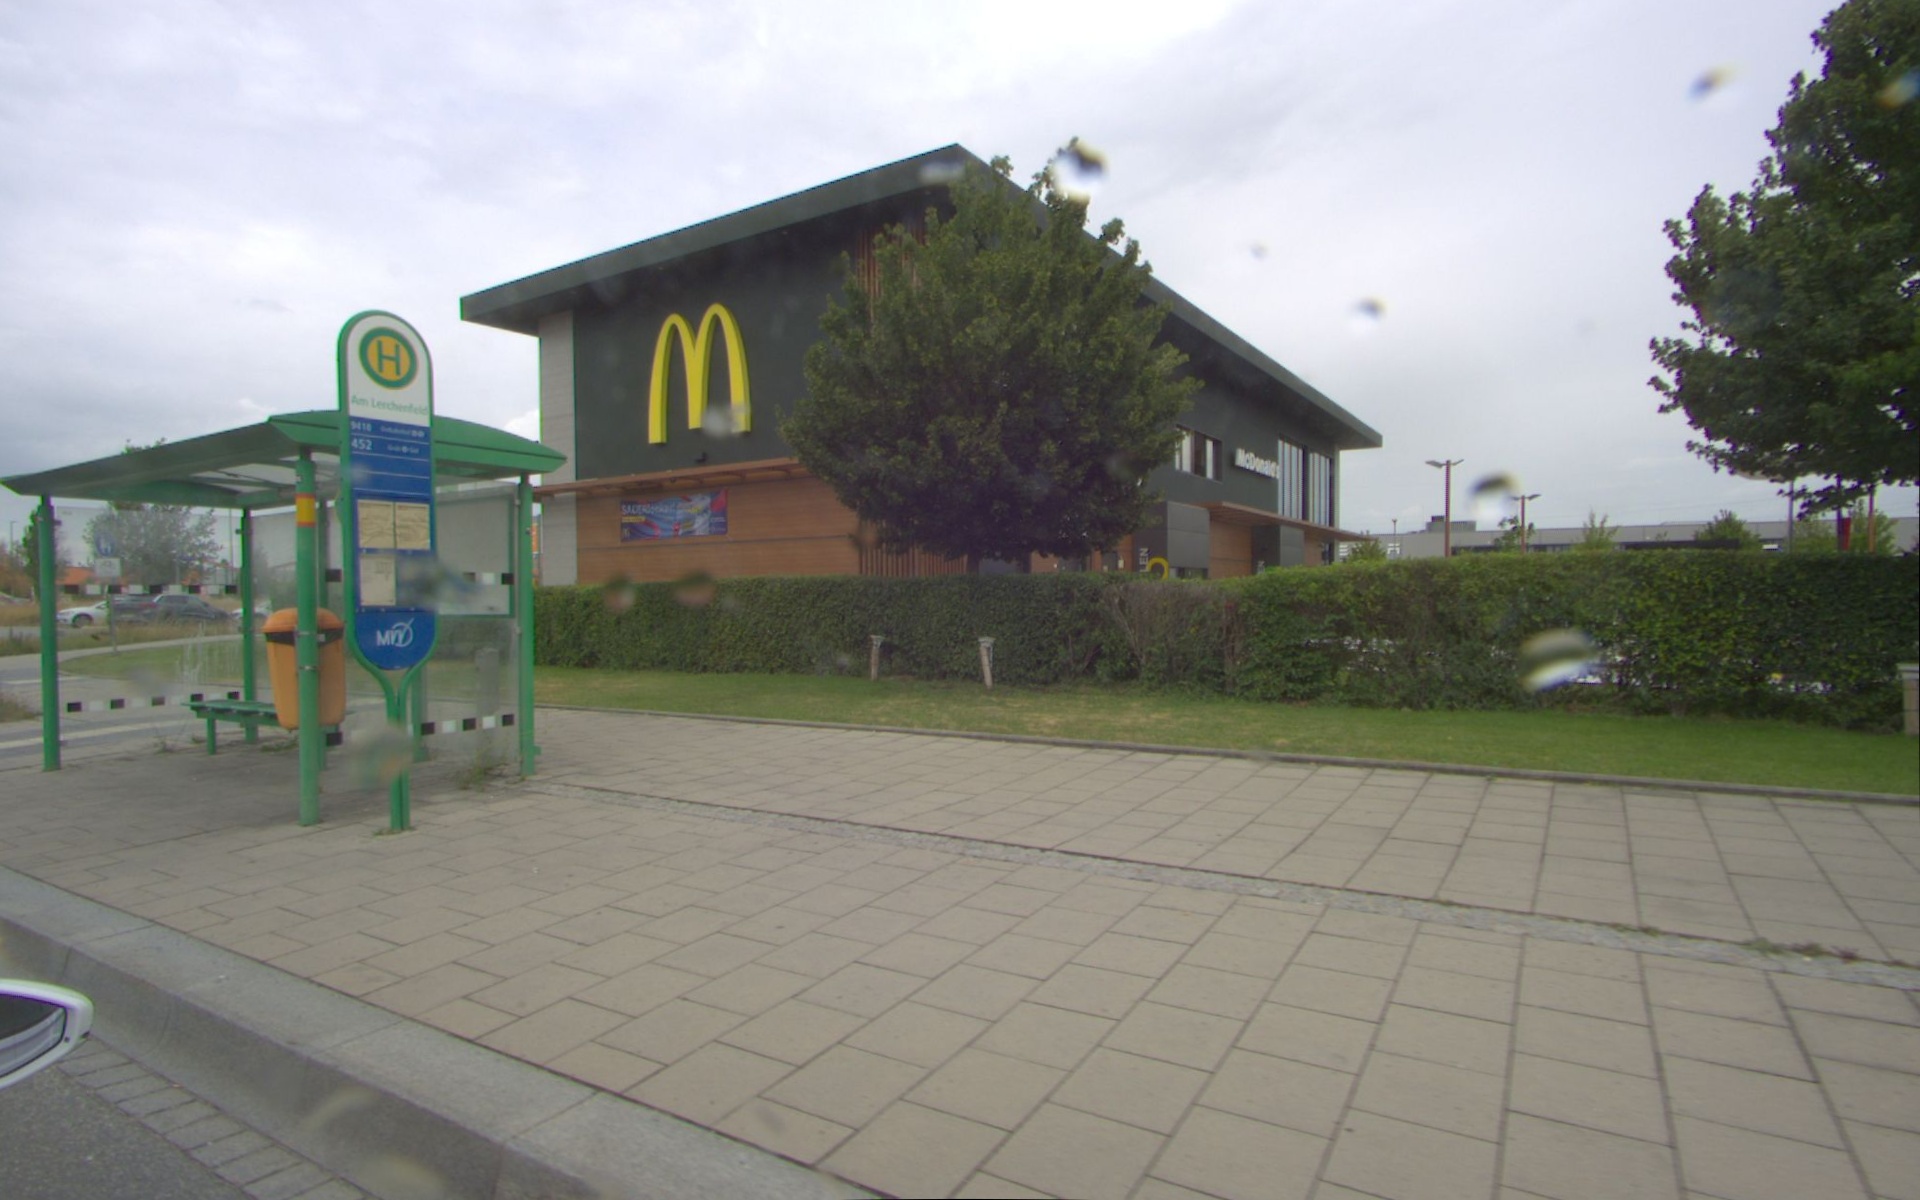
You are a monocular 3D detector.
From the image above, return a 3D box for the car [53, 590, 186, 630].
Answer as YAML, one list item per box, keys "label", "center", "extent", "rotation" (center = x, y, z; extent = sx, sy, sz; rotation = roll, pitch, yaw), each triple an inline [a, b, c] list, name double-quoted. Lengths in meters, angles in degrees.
- label: "car"
  center: [-39.238, 0.472, 46.849]
  extent: [1.978, 1.780, 4.577]
  rotation: [0, 0, 43]

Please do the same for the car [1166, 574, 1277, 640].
- label: "car"
  center: [7.581, 0.212, 28.759]
  extent: [1.972, 1.739, 3.978]
  rotation: [0, 0, 33]

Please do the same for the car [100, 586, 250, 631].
- label: "car"
  center: [-30.832, 0.285, 39.492]
  extent: [2.029, 1.614, 4.193]
  rotation: [0, 1, 20]

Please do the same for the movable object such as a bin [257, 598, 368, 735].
- label: "movable object such as a bin"
  center: [-4.003, 0.397, 6.199]
  extent: [0.374, 0.808, 0.455]
  rotation: [0, 0, 32]

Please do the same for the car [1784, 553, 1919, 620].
- label: "car"
  center: [36.271, -0.541, 39.564]
  extent: [5.931, 2.562, 2.280]
  rotation: [0, 1, -7]

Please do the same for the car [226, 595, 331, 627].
- label: "car"
  center: [-35.323, 0.560, 51.969]
  extent: [1.973, 1.625, 4.086]
  rotation: [0, 0, 35]
